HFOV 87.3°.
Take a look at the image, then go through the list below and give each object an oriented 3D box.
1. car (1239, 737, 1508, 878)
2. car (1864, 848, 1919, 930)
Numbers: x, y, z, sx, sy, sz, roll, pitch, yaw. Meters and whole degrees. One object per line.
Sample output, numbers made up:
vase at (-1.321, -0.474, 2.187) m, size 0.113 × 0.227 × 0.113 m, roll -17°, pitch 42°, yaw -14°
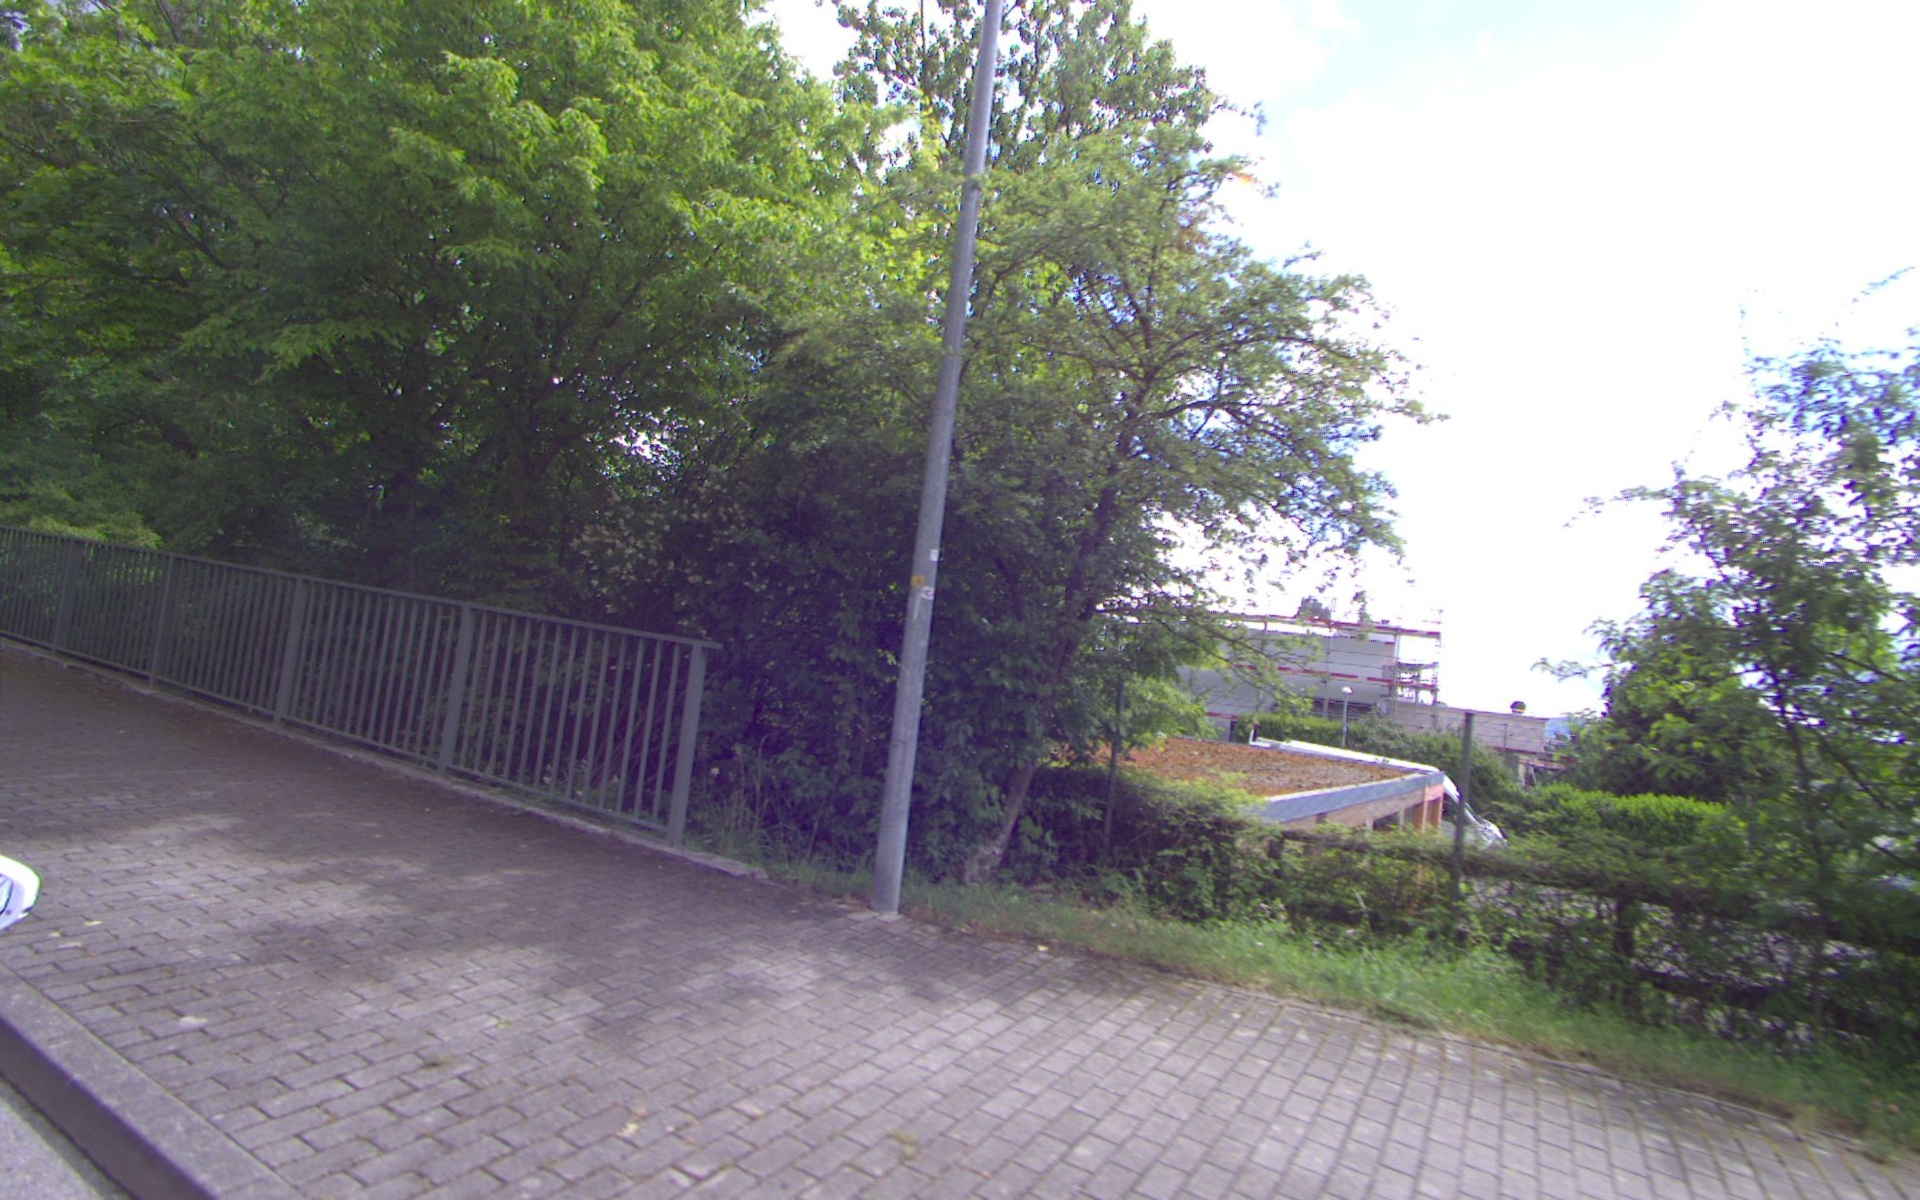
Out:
car at (11.078, 5.406, 27.144) m, size 6.359 × 2.719 × 2.278 m, roll 3°, pitch -3°, yaw 29°
car at (26.184, 7.878, 26.571) m, size 1.963 × 1.791 × 4.053 m, roll 8°, pitch -3°, yaw 22°
